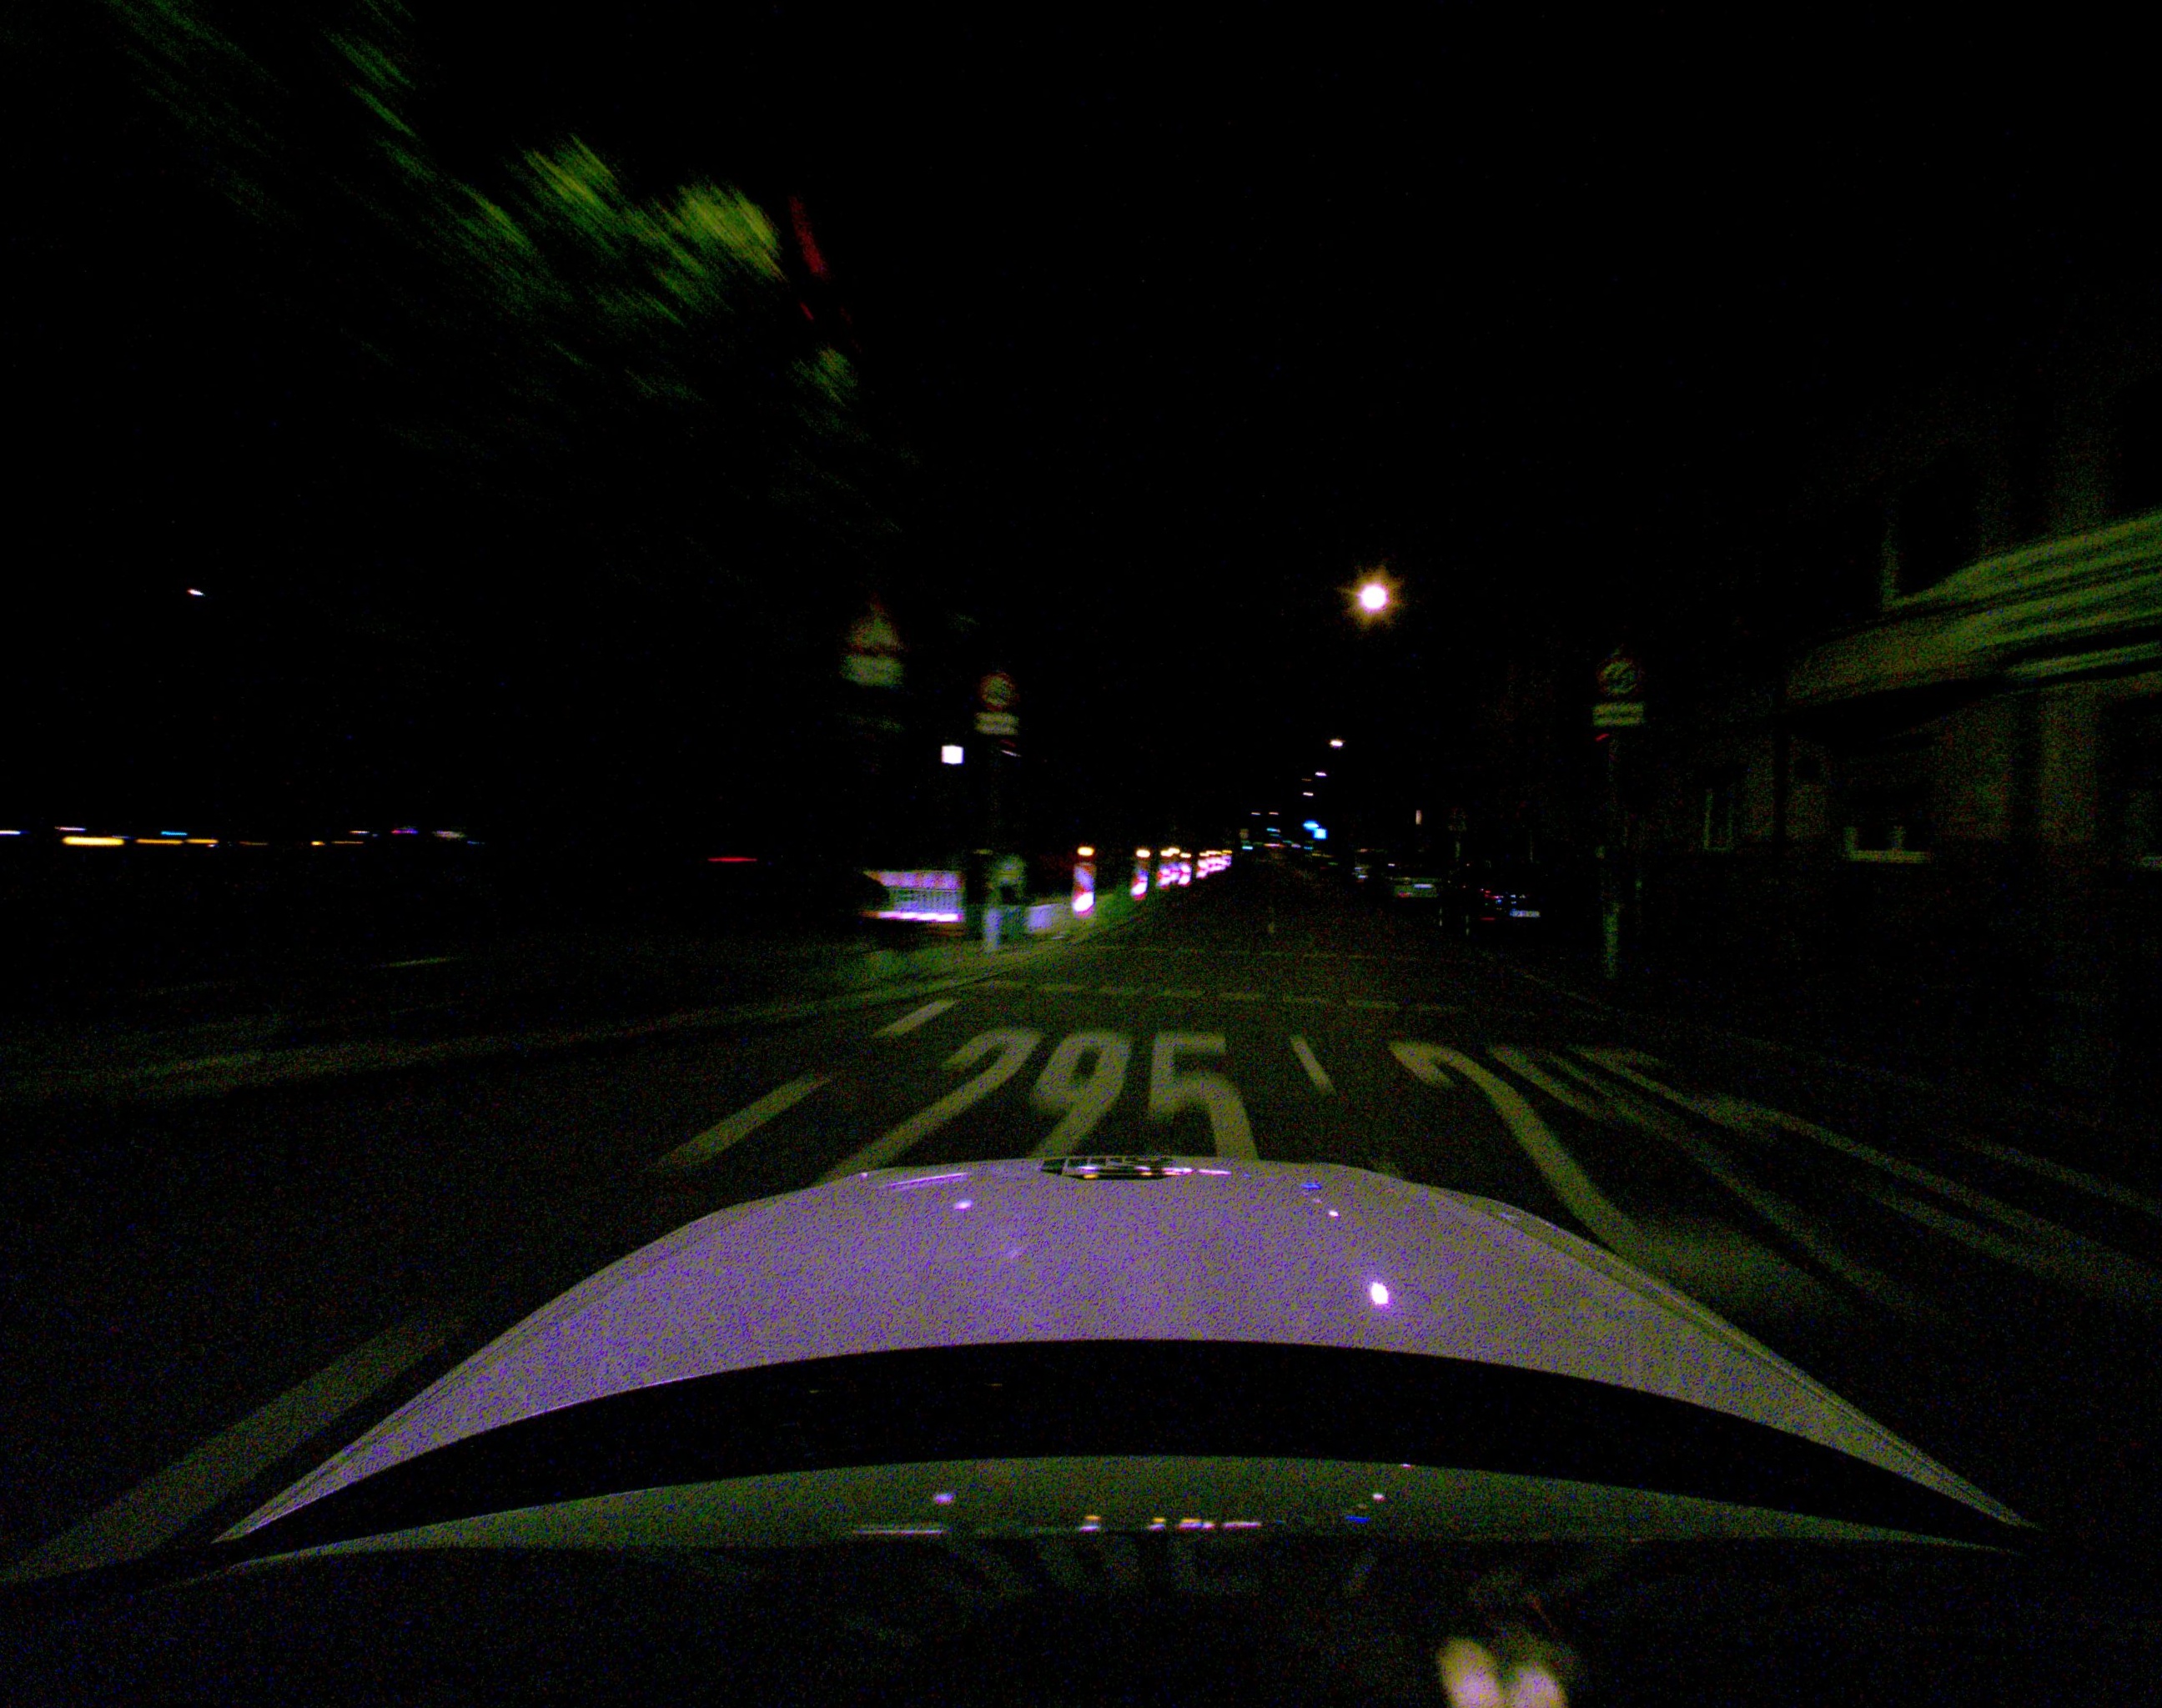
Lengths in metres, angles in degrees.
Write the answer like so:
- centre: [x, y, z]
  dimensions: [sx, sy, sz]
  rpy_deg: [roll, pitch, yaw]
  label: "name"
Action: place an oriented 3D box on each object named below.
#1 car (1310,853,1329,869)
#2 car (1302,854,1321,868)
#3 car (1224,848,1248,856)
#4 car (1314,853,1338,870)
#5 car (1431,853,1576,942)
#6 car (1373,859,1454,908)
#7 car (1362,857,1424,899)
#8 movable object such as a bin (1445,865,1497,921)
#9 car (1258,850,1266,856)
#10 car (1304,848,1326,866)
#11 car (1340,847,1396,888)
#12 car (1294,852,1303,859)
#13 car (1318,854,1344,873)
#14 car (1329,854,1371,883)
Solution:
- centre: [23.935, 0.676, 81.784]
  dimensions: [1.584, 1.467, 3.906]
  rpy_deg: [1, 0, 14]
  label: "car"
- centre: [26.012, 0.790, 92.015]
  dimensions: [1.804, 1.427, 4.203]
  rpy_deg: [0, 0, 13]
  label: "car"
- centre: [30.185, -0.348, 158.602]
  dimensions: [4.409, 1.449, 2.007]
  rpy_deg: [1, 0, 13]
  label: "car"
- centre: [21.922, 0.692, 72.859]
  dimensions: [1.767, 1.426, 3.905]
  rpy_deg: [1, 0, 13]
  label: "car"
- centre: [8.922, 0.830, 17.579]
  dimensions: [1.732, 1.683, 4.273]
  rpy_deg: [0, 0, 12]
  label: "car"
- centre: [11.192, 0.926, 27.725]
  dimensions: [1.732, 1.508, 4.850]
  rpy_deg: [0, 0, 12]
  label: "car"
- centre: [12.591, 0.918, 33.048]
  dimensions: [1.732, 1.565, 4.225]
  rpy_deg: [0, 0, 12]
  label: "car"
- centre: [10.397, 1.009, 21.756]
  dimensions: [0.931, 1.432, 1.342]
  rpy_deg: [-1, 0, 10]
  label: "movable object such as a bin"
- centre: [44.330, -0.248, 199.384]
  dimensions: [1.980, 1.502, 4.014]
  rpy_deg: [1, 0, 13]
  label: "car"
- centre: [25.100, 0.281, 87.302]
  dimensions: [1.789, 1.875, 4.788]
  rpy_deg: [-1, 0, 10]
  label: "car"
- centre: [14.485, 0.636, 41.342]
  dimensions: [2.058, 1.928, 5.389]
  rpy_deg: [0, 0, 13]
  label: "car"
- centre: [47.971, 0.376, 179.711]
  dimensions: [1.979, 1.516, 4.016]
  rpy_deg: [2, 1, 15]
  label: "car"
- centre: [20.051, 0.716, 65.443]
  dimensions: [1.766, 1.426, 4.498]
  rpy_deg: [1, 0, 14]
  label: "car"
- centre: [15.736, 0.835, 47.763]
  dimensions: [1.807, 1.599, 4.233]
  rpy_deg: [-1, 0, 11]
  label: "car"
